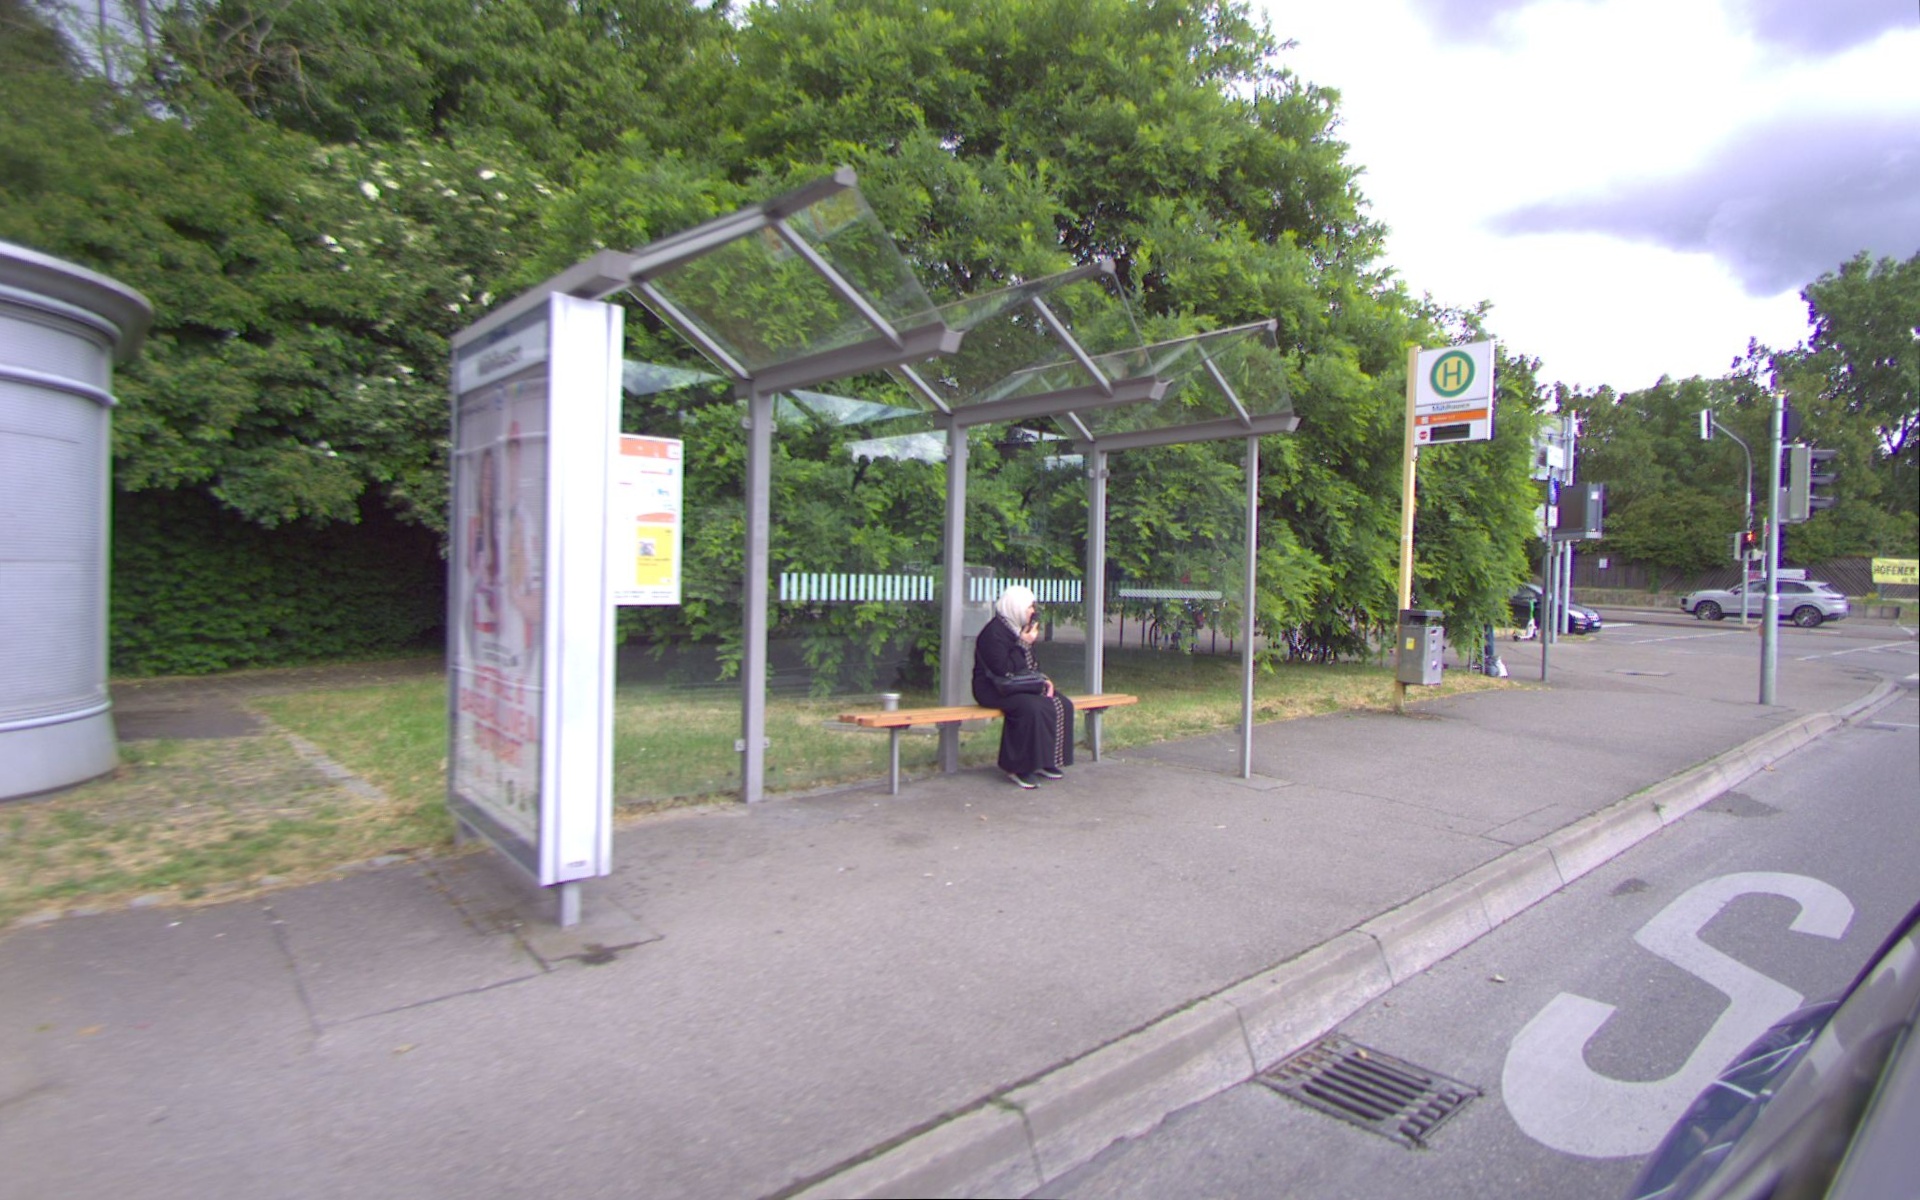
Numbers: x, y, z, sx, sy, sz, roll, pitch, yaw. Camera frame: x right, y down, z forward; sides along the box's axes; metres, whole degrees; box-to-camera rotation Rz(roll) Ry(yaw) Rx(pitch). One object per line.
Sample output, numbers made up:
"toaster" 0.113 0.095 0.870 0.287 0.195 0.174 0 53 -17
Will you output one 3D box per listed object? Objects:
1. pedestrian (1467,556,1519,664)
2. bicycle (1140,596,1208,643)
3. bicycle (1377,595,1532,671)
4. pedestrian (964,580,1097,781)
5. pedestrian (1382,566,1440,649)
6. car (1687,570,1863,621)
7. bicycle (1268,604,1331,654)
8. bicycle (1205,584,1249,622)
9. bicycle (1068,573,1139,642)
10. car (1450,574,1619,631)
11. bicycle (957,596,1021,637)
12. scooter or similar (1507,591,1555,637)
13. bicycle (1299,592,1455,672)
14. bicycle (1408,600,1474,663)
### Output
"pedestrian" 8.974 0.156 17.062 0.411 1.775 0.691 0 1 -11
"bicycle" 4.150 0.355 19.537 0.476 0.867 1.712 1 1 43
"bicycle" 6.839 0.426 14.077 0.535 0.936 1.871 0 2 -40
"pedestrian" 0.444 0.476 6.435 0.537 1.172 0.602 0 3 -42
"pedestrian" 8.695 0.132 19.526 0.659 1.532 0.754 -1 4 -42
"car" 29.848 -0.218 37.193 1.649 1.662 4.844 0 2 -44
"bicycle" 5.978 0.487 17.791 0.476 0.818 1.491 1 1 43
"bicycle" 8.562 0.076 32.443 0.580 1.129 1.788 5 5 40
"bicycle" 3.004 0.137 21.050 0.644 1.389 1.632 1 1 43
"car" 17.472 0.018 30.935 1.692 1.550 4.182 -1 3 -41
"bicycle" 0.666 0.349 22.643 0.476 0.867 1.632 1 1 43
"scooter or similar" 14.768 0.341 26.164 1.209 1.125 0.654 0 2 -39
"bicycle" 5.519 0.393 13.540 0.579 0.951 2.048 0 1 -27
"bicycle" 7.688 0.489 16.137 0.522 0.917 1.826 4 2 38
